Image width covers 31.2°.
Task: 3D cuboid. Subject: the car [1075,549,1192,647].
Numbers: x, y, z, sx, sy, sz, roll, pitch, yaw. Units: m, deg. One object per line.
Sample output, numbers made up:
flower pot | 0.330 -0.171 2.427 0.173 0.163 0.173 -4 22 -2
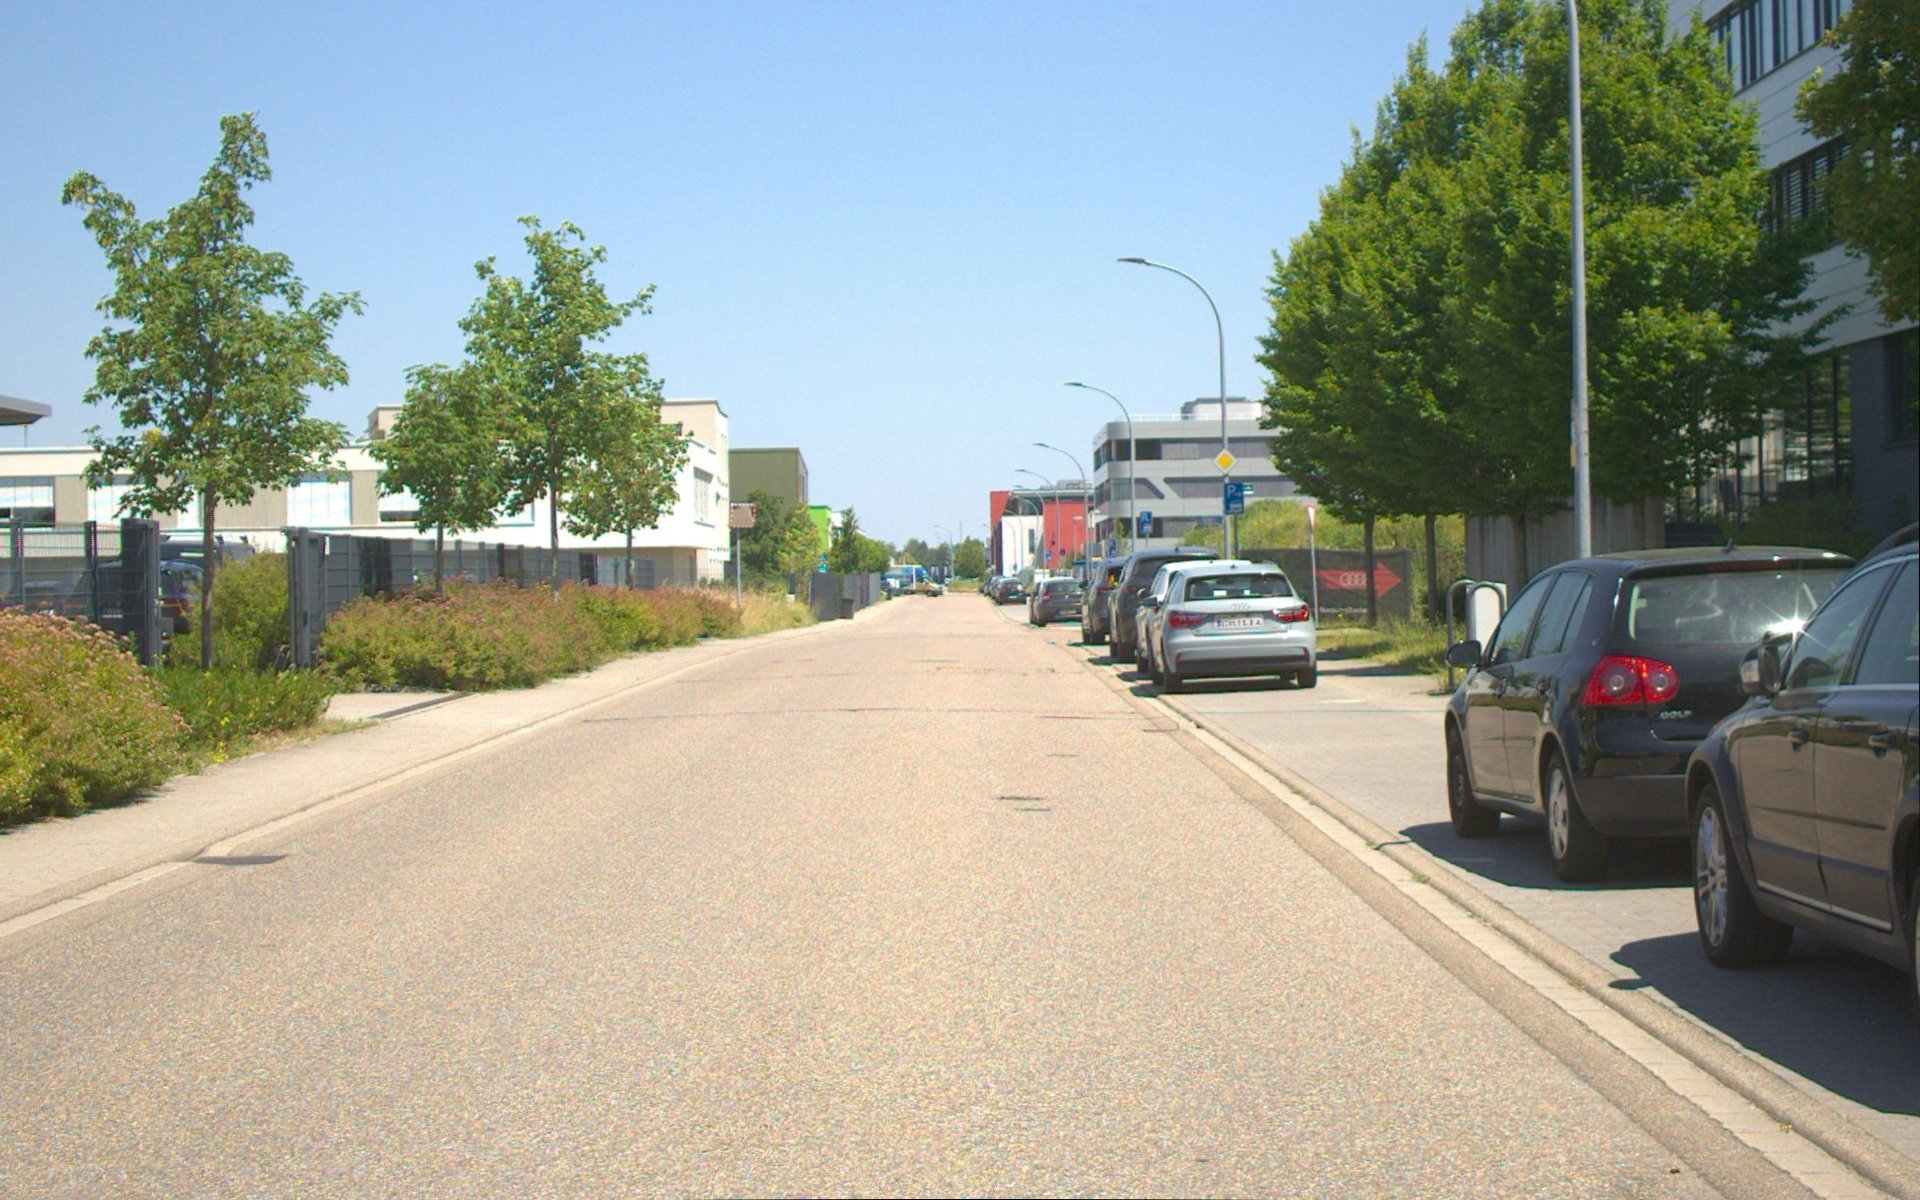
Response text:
car | 3.203 -0.061 64.372 1.803 1.656 4.608 -3 1 -1

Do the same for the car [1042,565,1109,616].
car | 3.519 -0.289 104.069 1.908 1.443 4.000 -2 0 3

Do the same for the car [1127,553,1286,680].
car | 3.126 0.177 44.289 1.716 1.476 4.031 -3 1 1

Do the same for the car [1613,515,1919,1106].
car | 3.472 0.522 10.846 1.807 1.612 4.715 -2 1 -1

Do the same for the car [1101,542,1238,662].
car | 3.108 -0.005 51.717 1.758 1.657 4.363 -2 1 1

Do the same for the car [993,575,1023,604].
car | 3.004 -0.673 215.110 1.776 1.722 4.000 1 0 0

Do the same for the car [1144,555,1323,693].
car | 3.105 0.238 39.705 1.716 1.418 3.951 -3 1 1

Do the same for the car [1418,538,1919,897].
car | 3.426 0.475 16.808 1.691 1.471 4.269 -2 1 -1
